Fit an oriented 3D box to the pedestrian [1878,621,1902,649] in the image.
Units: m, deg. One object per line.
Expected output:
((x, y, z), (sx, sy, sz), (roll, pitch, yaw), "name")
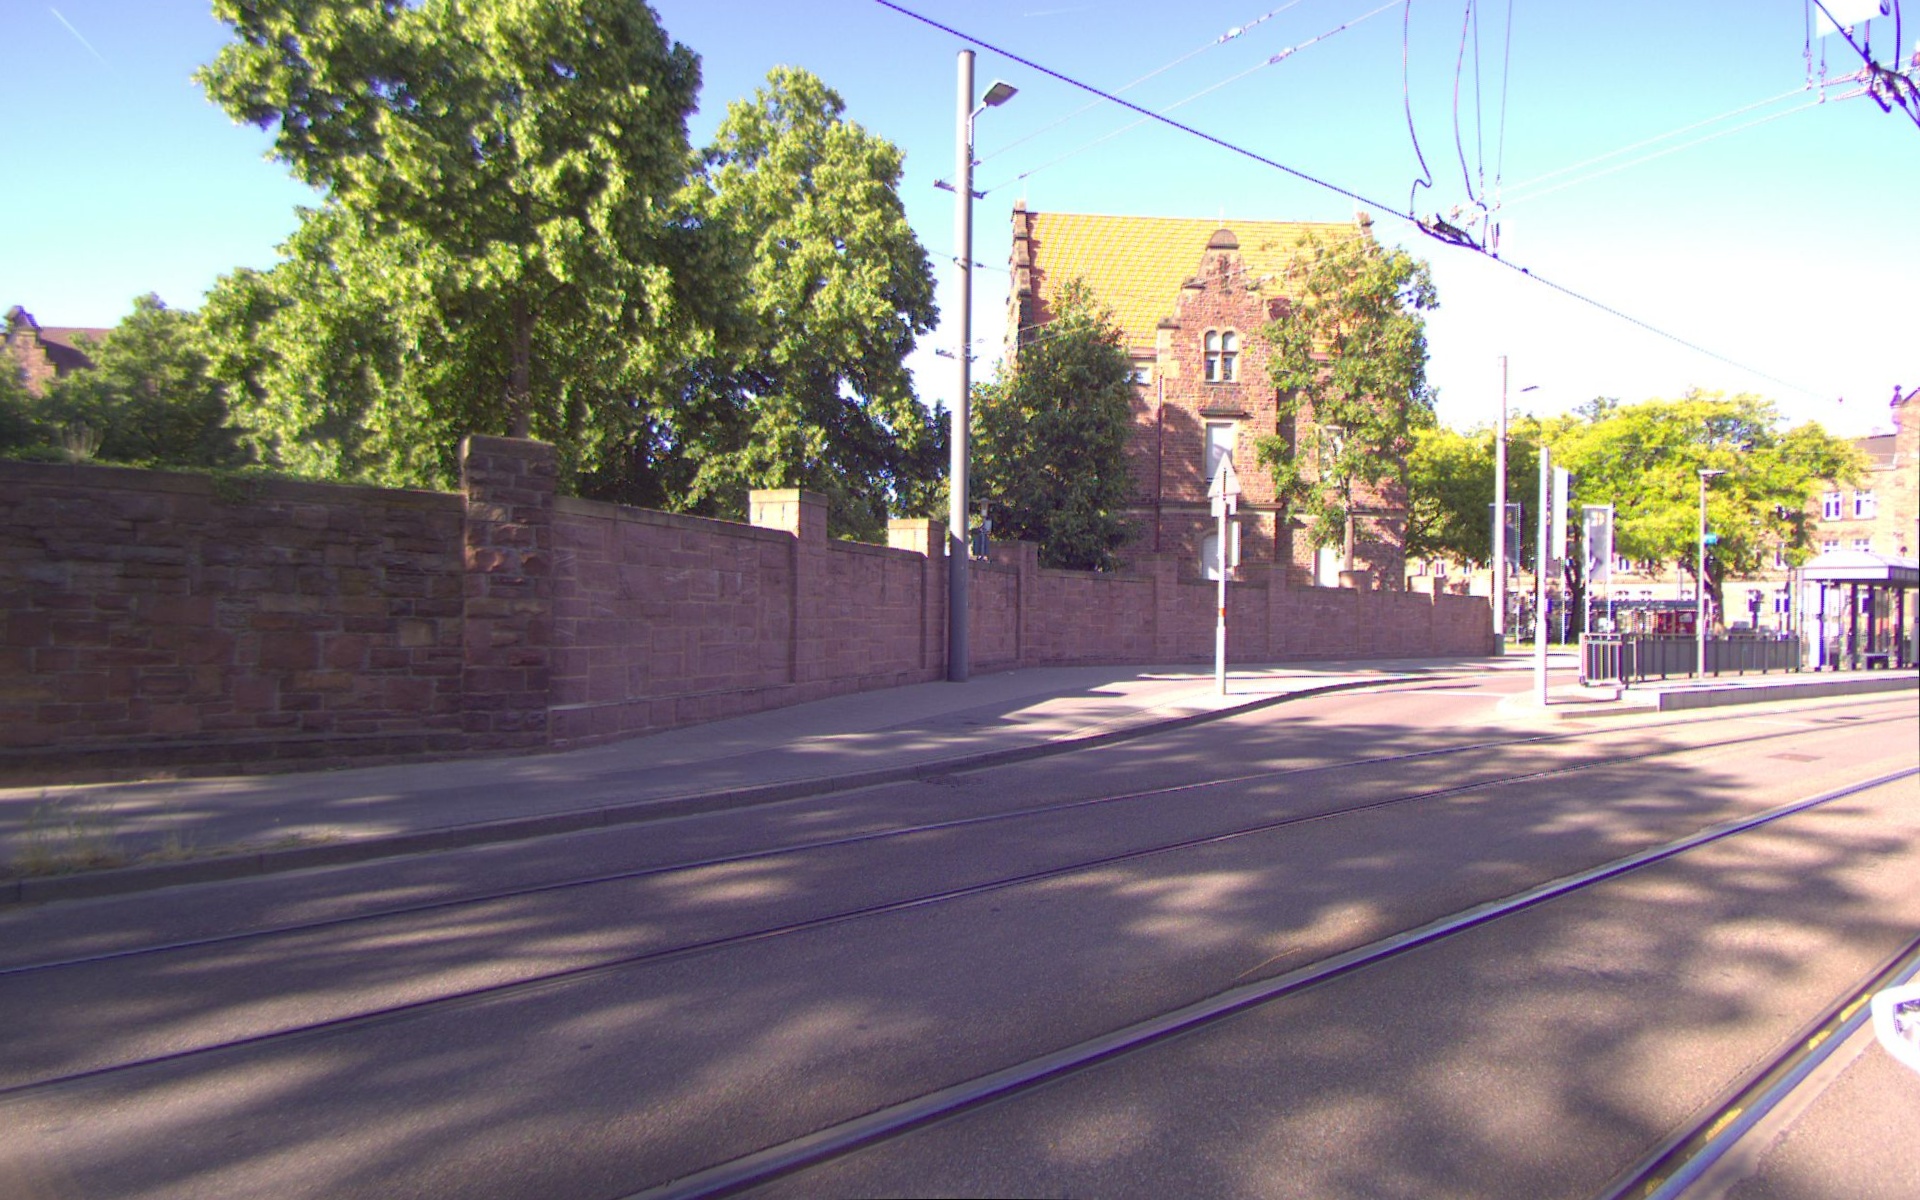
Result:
((54.895, 2.078, 59.307), (0.924, 1.609, 0.798), (2, 0, -32), "pedestrian")

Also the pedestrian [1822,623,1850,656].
((47.272, 2.126, 54.190), (1.017, 1.714, 0.839), (2, 0, -30), "pedestrian")

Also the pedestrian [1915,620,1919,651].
((52.793, 1.944, 54.668), (1.017, 1.706, 0.891), (2, 0, -30), "pedestrian")

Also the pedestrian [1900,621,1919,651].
((53.582, 2.024, 56.493), (0.924, 1.609, 0.798), (2, 0, -32), "pedestrian")
